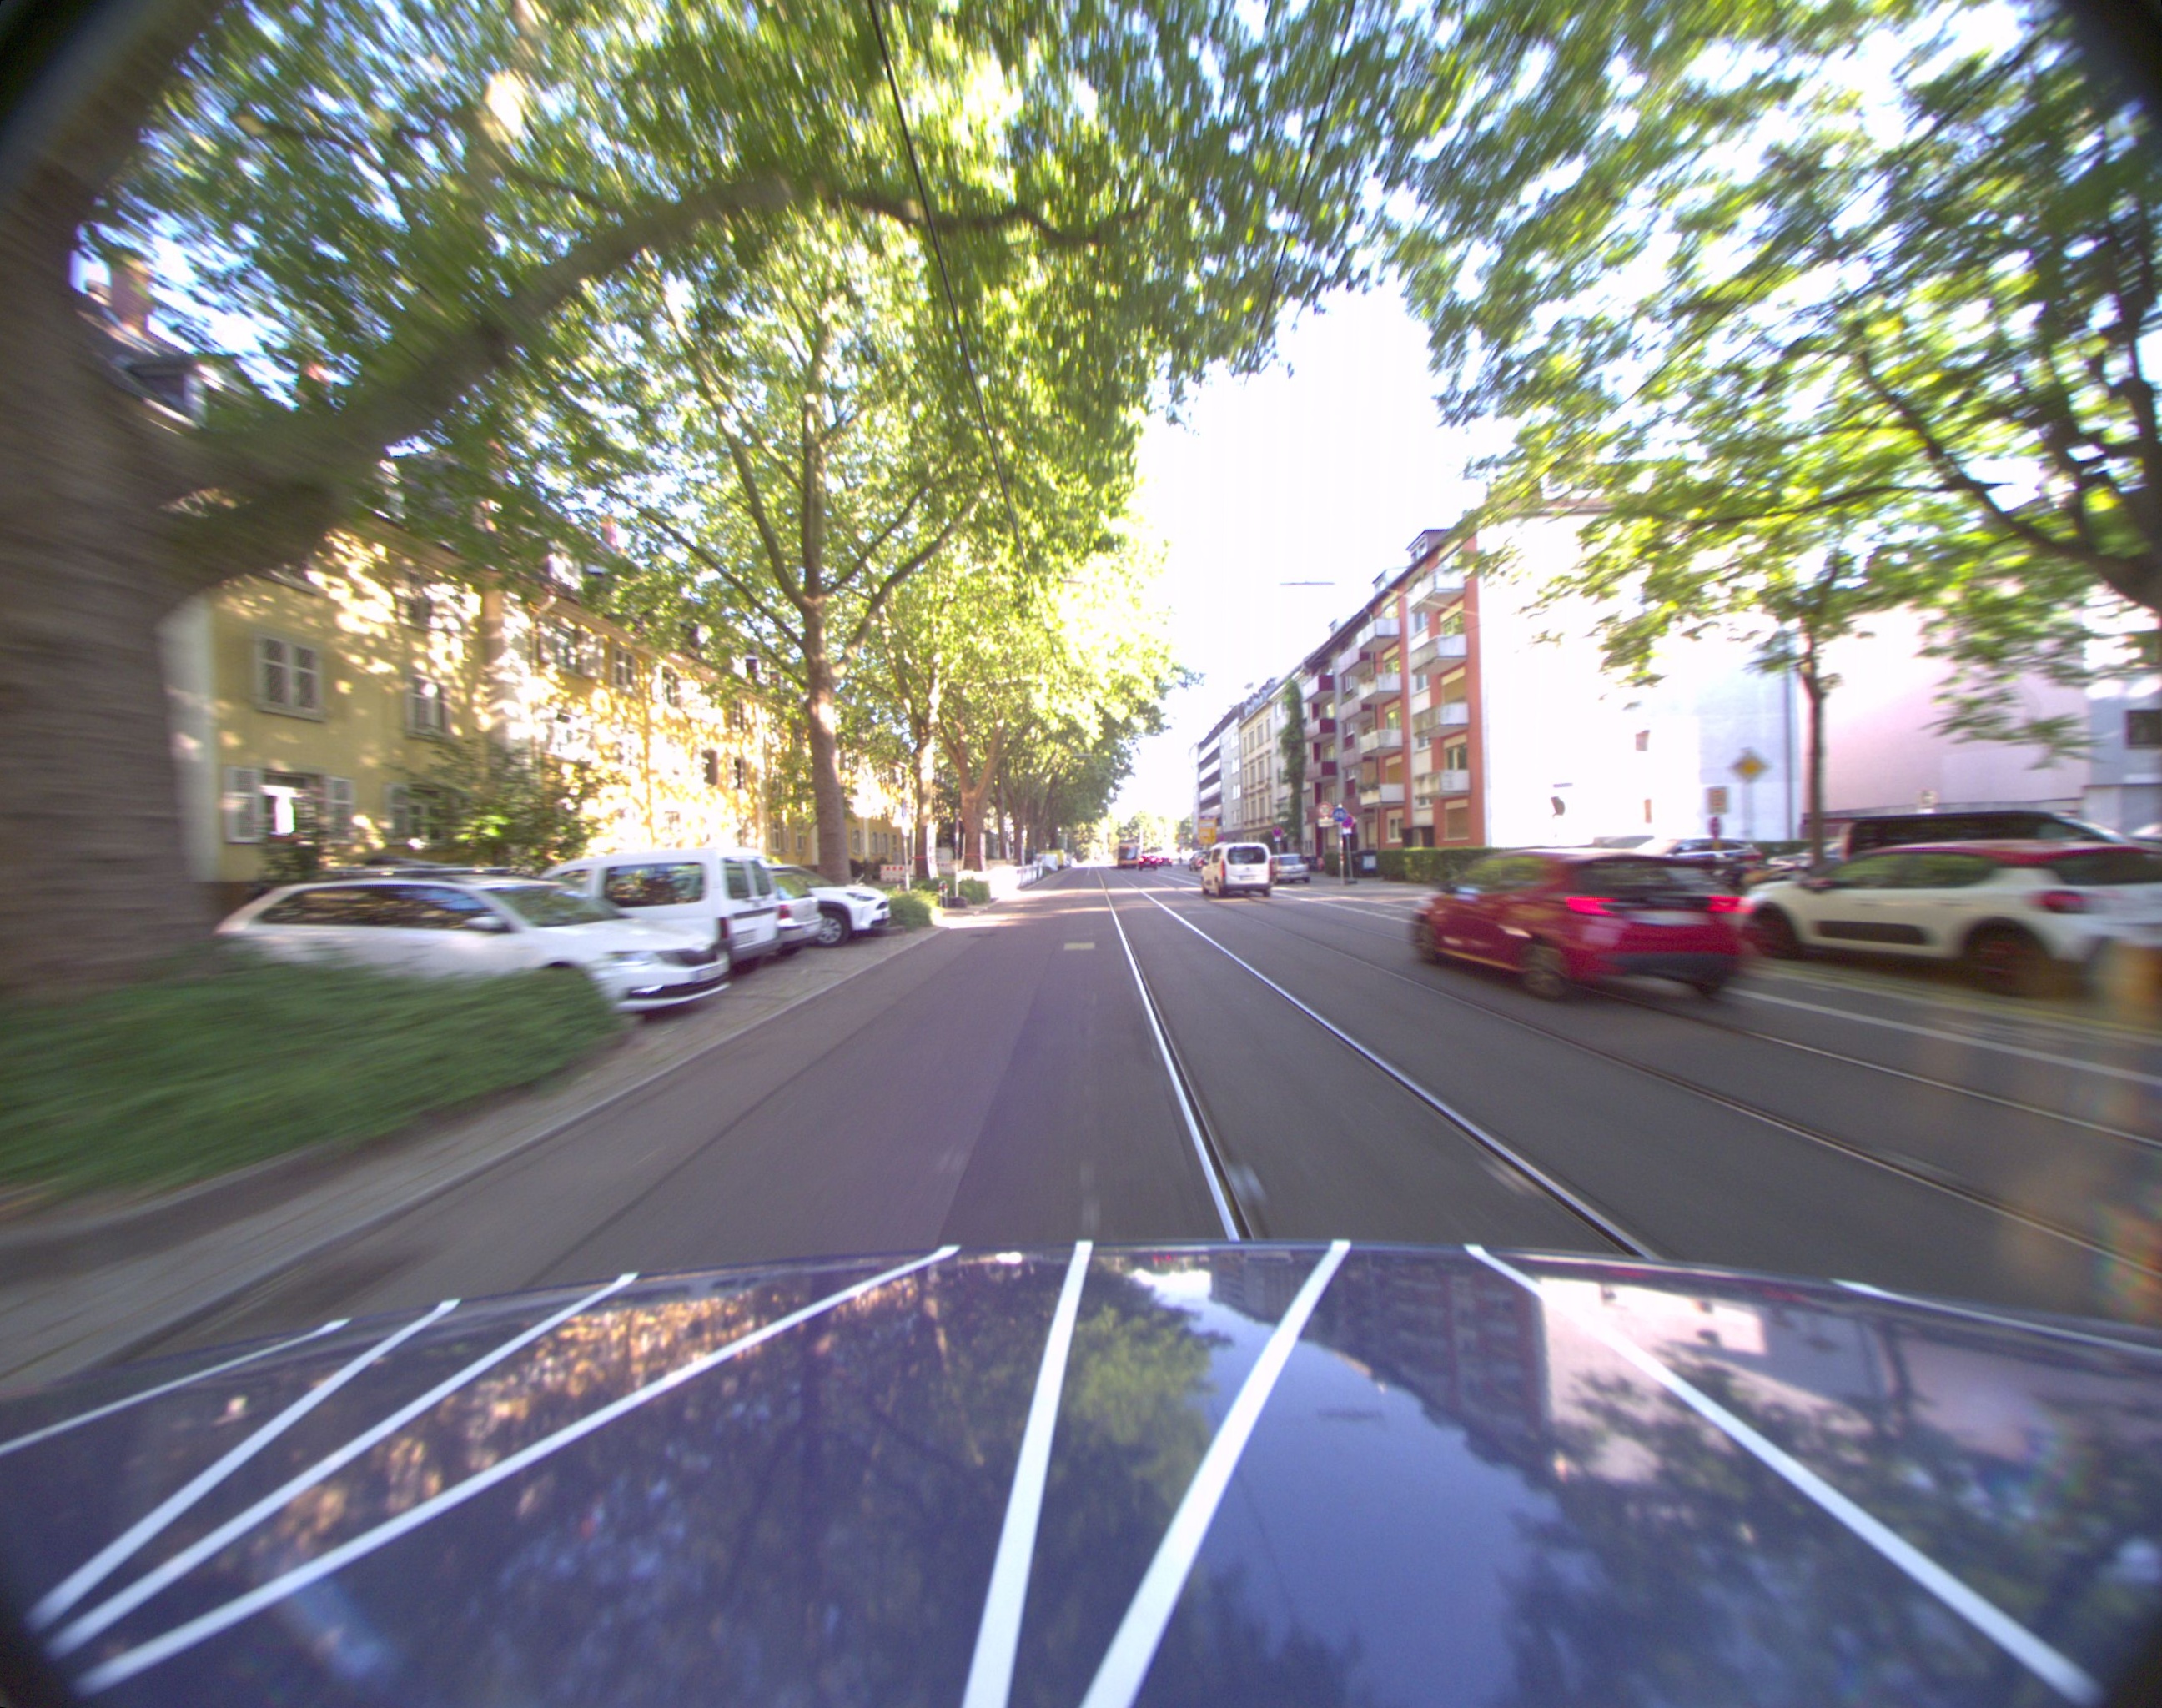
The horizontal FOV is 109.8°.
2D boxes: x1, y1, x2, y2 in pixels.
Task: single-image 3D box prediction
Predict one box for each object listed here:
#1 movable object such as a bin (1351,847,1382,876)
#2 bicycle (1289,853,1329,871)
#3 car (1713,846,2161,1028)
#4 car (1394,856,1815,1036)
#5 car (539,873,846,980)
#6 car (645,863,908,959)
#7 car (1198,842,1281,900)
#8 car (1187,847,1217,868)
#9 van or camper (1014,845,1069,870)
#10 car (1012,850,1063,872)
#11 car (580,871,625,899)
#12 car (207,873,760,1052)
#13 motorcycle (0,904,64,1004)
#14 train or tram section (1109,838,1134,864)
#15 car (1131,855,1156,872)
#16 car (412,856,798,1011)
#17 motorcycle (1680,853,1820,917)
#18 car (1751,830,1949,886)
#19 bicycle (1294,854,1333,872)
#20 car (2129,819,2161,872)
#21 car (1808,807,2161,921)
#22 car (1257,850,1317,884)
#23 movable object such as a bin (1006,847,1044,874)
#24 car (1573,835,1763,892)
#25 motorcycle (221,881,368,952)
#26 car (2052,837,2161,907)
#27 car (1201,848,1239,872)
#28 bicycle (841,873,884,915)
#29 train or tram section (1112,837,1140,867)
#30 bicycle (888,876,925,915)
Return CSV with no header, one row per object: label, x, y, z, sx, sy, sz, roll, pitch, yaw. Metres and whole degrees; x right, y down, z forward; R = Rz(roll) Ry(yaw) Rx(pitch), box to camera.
movable object such as a bin,13.952,0.373,37.165,1.214,1.357,0.747,-1,1,2
bicycle,15.253,0.563,50.852,2.457,1.056,0.699,-3,1,-2
car,9.748,0.700,8.601,1.810,1.469,4.090,-4,0,2
car,5.179,0.770,8.363,1.780,1.449,4.202,0,0,1
car,-5.944,1.089,11.941,3.852,1.424,1.852,-2,0,5
car,-5.547,1.011,14.253,4.098,1.512,1.916,-2,1,0
car,5.406,0.536,26.595,1.896,1.821,4.895,-2,0,1
car,10.899,0.316,68.657,1.793,1.760,4.470,-3,0,-2
van or camper,-4.389,0.425,85.015,5.939,2.614,2.270,-1,1,3
car,-4.284,0.699,75.428,4.847,2.001,2.063,-1,0,1
car,-16.190,1.030,25.750,0.446,0.847,1.574,-3,0,2
car,-5.881,1.031,7.813,4.380,1.533,1.802,-2,0,5
motorcycle,-13.249,1.214,8.472,0.717,1.146,2.264,-1,0,1
train or tram section,5.775,-0.355,110.346,2.916,3.465,13.369,-1,0,1
car,6.525,0.986,79.589,1.858,1.591,4.461,-4,1,-4
car,-6.043,0.960,9.979,3.852,1.761,1.917,-2,1,5
motorcycle,14.421,0.674,16.504,0.904,1.273,2.349,-1,-2,-1
car,24.491,0.088,24.320,4.318,1.597,1.937,-2,2,1
bicycle,15.229,0.588,49.702,2.295,0.987,0.699,-3,1,-2
car,36.955,-0.320,24.225,4.318,1.714,1.916,-2,2,1
car,19.569,0.182,16.736,2.003,2.111,4.713,-3,1,-27
car,9.931,0.600,36.878,1.729,1.474,3.930,-4,0,0
movable object such as a bin,-4.794,0.544,65.267,1.482,2.256,3.283,-1,0,35
car,18.647,0.272,24.282,4.544,1.597,1.937,-2,2,1
motorcycle,-14.886,1.166,14.410,1.995,1.243,0.713,-2,1,0
car,25.013,0.396,17.308,1.636,1.535,3.312,-2,1,-27
car,10.512,0.418,57.825,1.957,1.639,4.881,-3,1,0
bicycle,-6.650,1.199,23.210,0.692,1.147,1.948,-2,0,1
train or tram section,5.567,-0.261,96.539,2.916,3.465,14.198,-1,0,1
bicycle,-5.242,1.221,22.957,0.637,1.064,1.809,-2,0,1
